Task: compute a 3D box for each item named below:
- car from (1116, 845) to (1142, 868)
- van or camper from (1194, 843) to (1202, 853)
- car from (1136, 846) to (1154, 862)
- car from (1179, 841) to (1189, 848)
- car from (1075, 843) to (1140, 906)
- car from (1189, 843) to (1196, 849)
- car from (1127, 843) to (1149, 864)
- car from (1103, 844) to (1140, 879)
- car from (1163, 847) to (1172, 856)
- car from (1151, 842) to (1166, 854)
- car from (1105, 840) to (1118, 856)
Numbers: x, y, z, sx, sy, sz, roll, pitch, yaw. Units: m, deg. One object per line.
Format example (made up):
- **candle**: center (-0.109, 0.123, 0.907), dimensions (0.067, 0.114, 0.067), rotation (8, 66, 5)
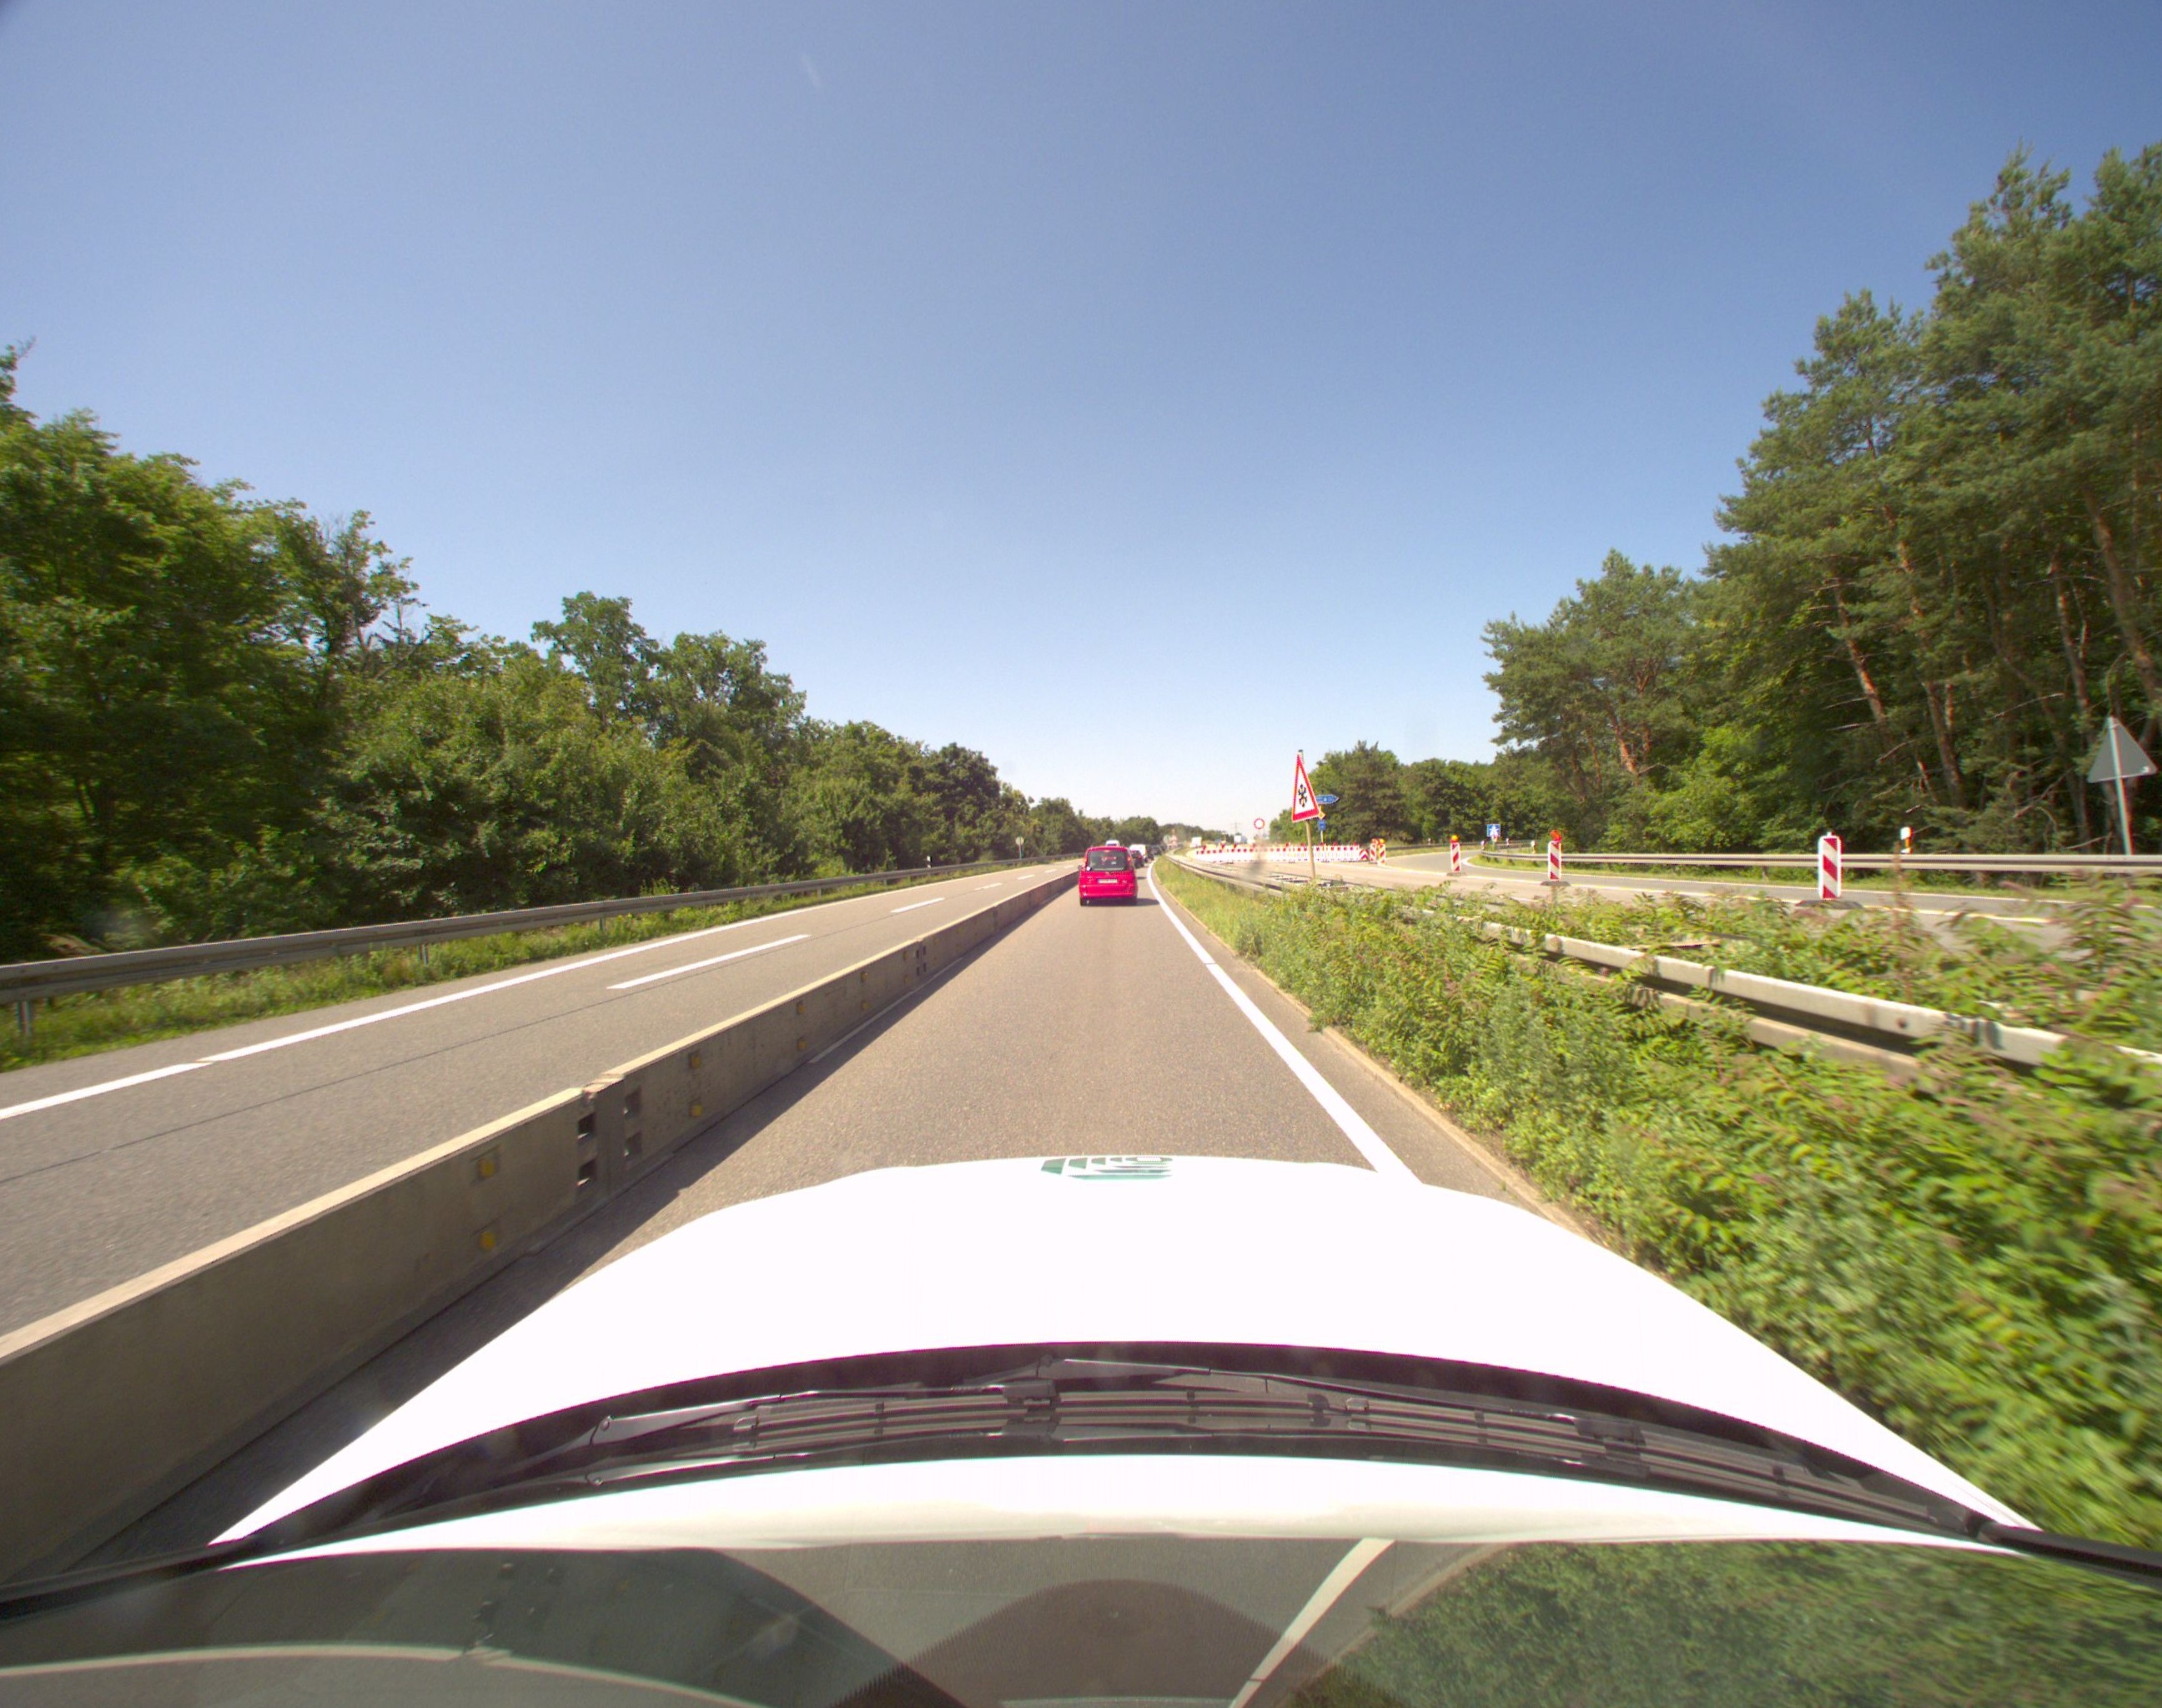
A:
- **car**: center (3.946, 0.189, 66.864), dimensions (1.984, 1.838, 4.005), rotation (-2, 0, 4)
- **van or camper**: center (34.209, -1.774, 238.635), dimensions (2.315, 2.706, 4.603), rotation (-2, 0, 7)
- **car**: center (7.519, -0.010, 95.490), dimensions (1.985, 1.750, 4.004), rotation (-2, 0, 3)
- **car**: center (24.498, -2.340, 193.577), dimensions (1.982, 1.552, 4.010), rotation (-3, 0, 9)
- **car**: center (0.773, 0.561, 24.201), dimensions (1.745, 1.673, 4.001), rotation (-2, 0, 1)
- **car**: center (31.101, -2.159, 227.427), dimensions (1.982, 1.486, 4.009), rotation (-2, 0, 8)
- **car**: center (5.776, -0.026, 82.987), dimensions (1.986, 2.003, 4.002), rotation (-2, 0, 2)
- **car**: center (2.182, 0.383, 43.362), dimensions (1.823, 1.722, 4.003), rotation (-2, 0, 3)
- **car**: center (16.803, -0.431, 157.853), dimensions (1.492, 1.736, 3.179), rotation (-2, 0, 10)
- **car**: center (11.590, -0.928, 122.588), dimensions (1.986, 1.783, 4.002), rotation (-2, 0, 2)
- **car**: center (5.033, -1.021, 134.063), dimensions (2.053, 2.485, 5.565), rotation (-1, 0, 3)
